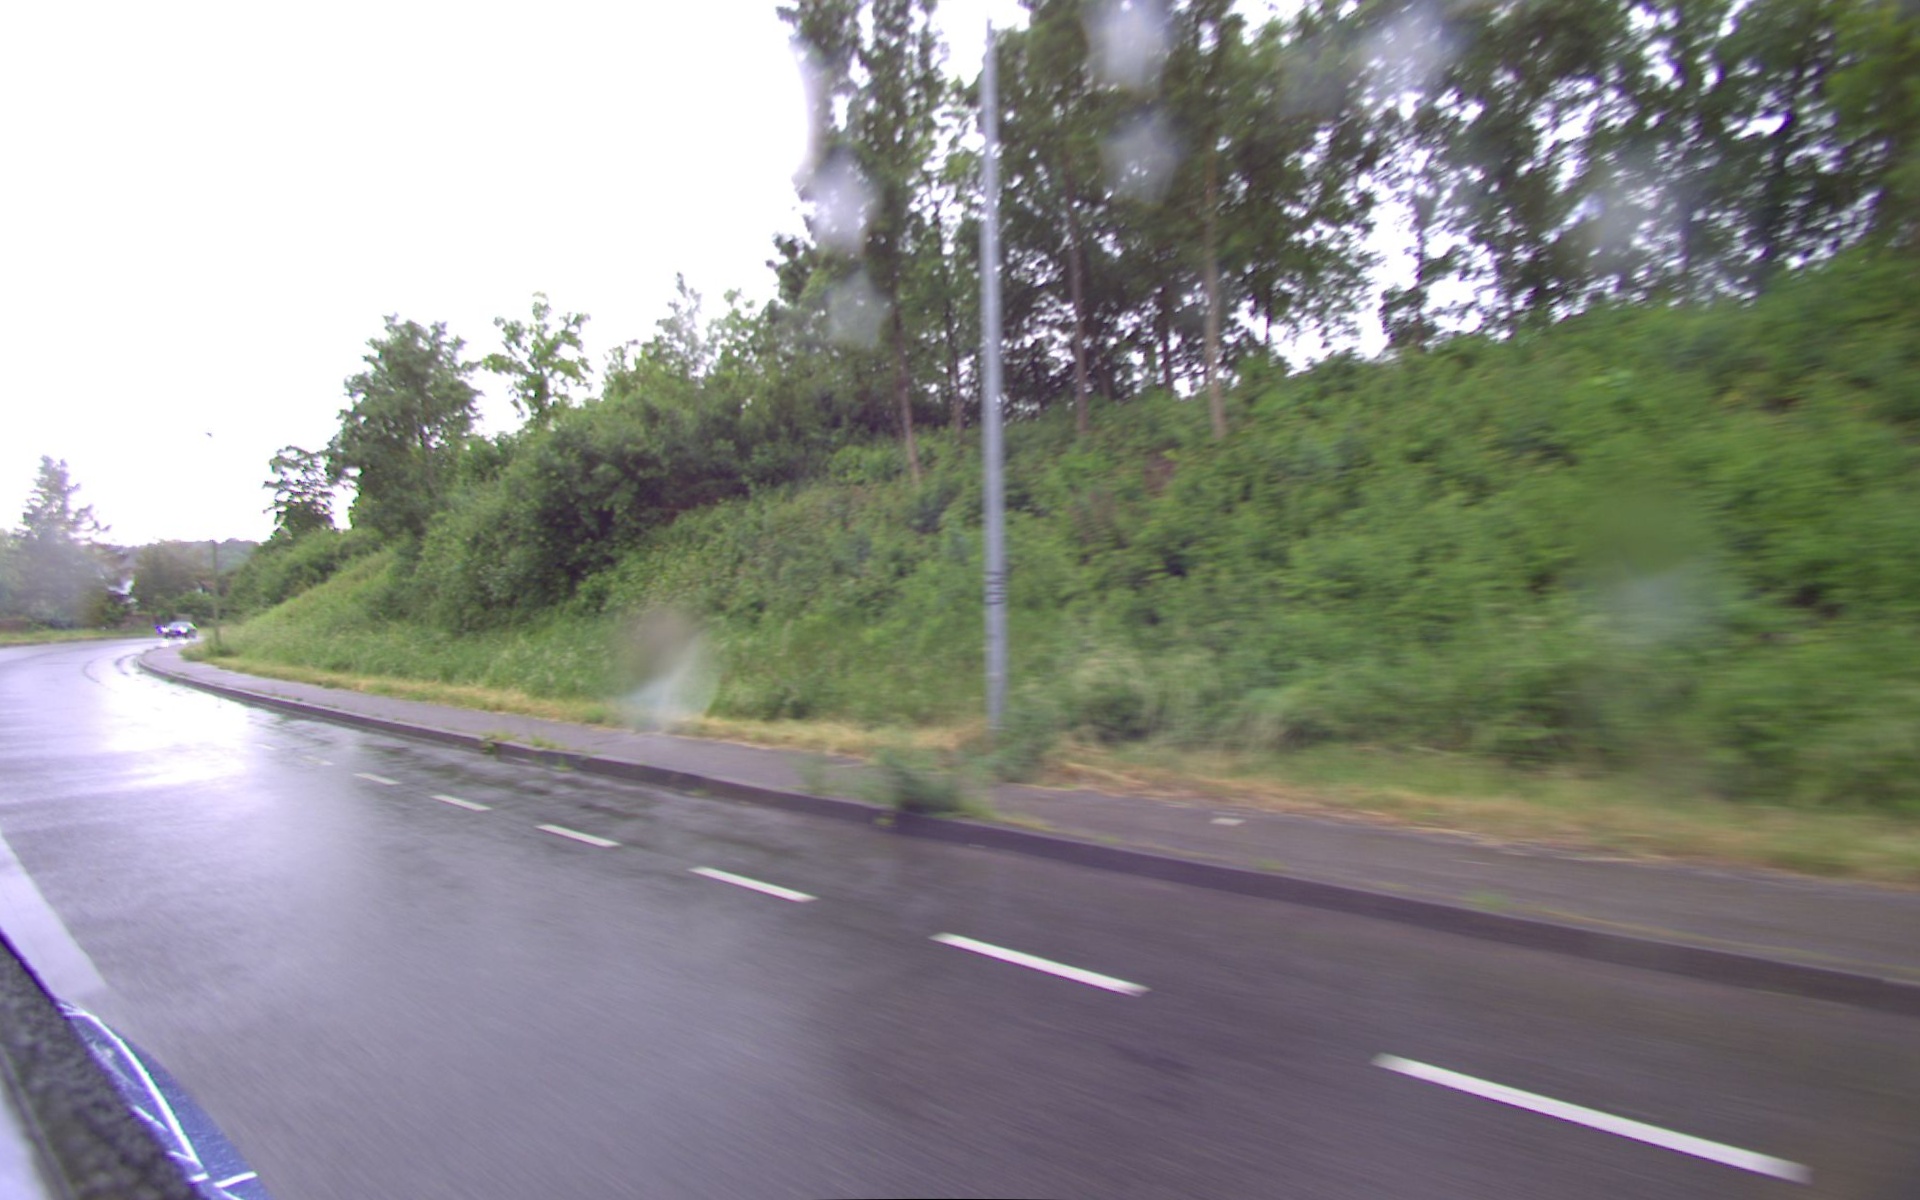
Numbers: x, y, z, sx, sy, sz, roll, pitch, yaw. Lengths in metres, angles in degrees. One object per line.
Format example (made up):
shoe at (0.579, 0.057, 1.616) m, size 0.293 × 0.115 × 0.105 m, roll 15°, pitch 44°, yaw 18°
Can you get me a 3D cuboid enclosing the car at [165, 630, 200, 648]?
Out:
car at (-72.590, 3.642, 94.506) m, size 1.848 × 1.618 × 4.013 m, roll 1°, pitch -2°, yaw -27°
